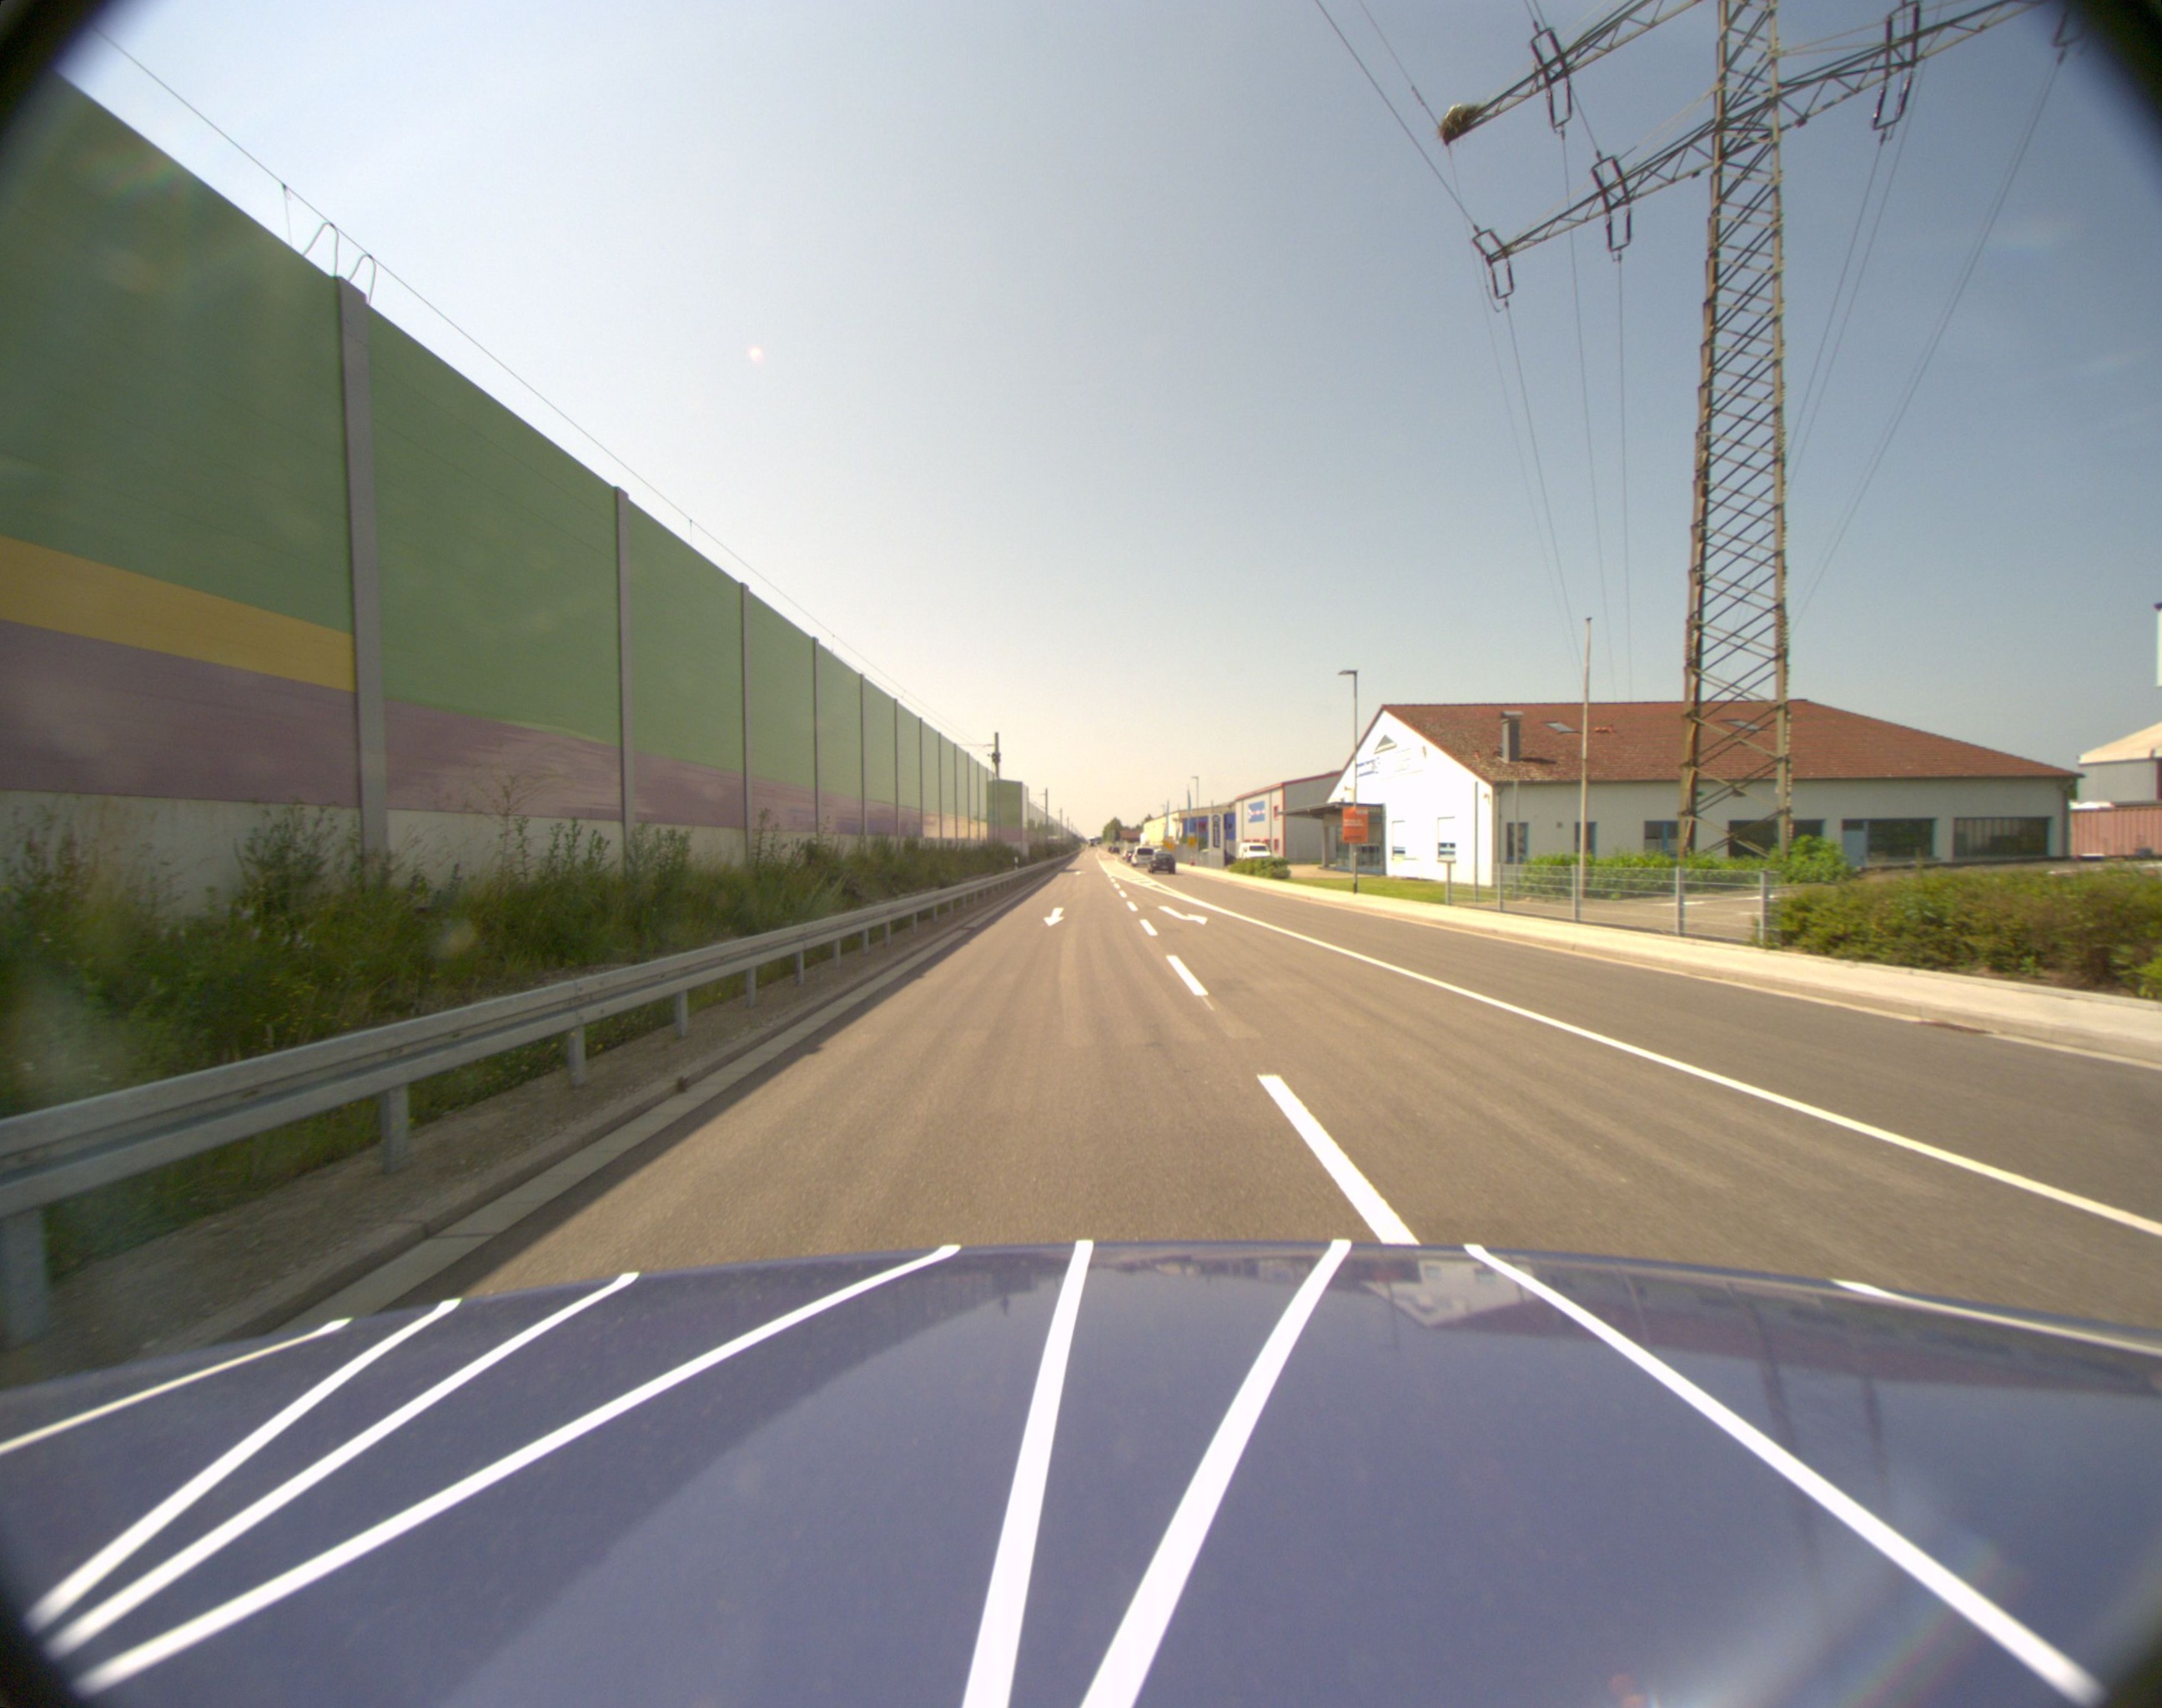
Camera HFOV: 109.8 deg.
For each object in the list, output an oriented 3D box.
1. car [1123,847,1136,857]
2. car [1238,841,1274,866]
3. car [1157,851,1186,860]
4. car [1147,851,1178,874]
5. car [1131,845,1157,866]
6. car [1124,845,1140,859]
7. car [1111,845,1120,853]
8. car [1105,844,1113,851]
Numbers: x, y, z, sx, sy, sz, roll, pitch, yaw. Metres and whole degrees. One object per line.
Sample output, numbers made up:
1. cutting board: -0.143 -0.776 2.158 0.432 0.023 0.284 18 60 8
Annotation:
1. car: 7.000 -0.295 110.995 1.768 1.457 4.259 1 1 2
2. car: 14.543 -0.069 63.397 1.998 2.002 4.680 0 2 2
3. car: 14.071 0.242 118.694 4.151 1.493 1.778 -1 0 26
4. car: 5.499 0.563 51.433 1.675 1.415 3.999 1 1 0
5. car: 5.820 0.096 70.726 1.998 1.863 5.168 0 1 0
6. car: 6.121 -0.253 91.973 1.672 1.591 3.972 1 1 1
7. car: 7.475 -1.099 166.134 1.885 1.607 4.522 2 1 3
8. car: 6.977 -1.605 188.913 1.746 1.584 3.796 0 1 1
